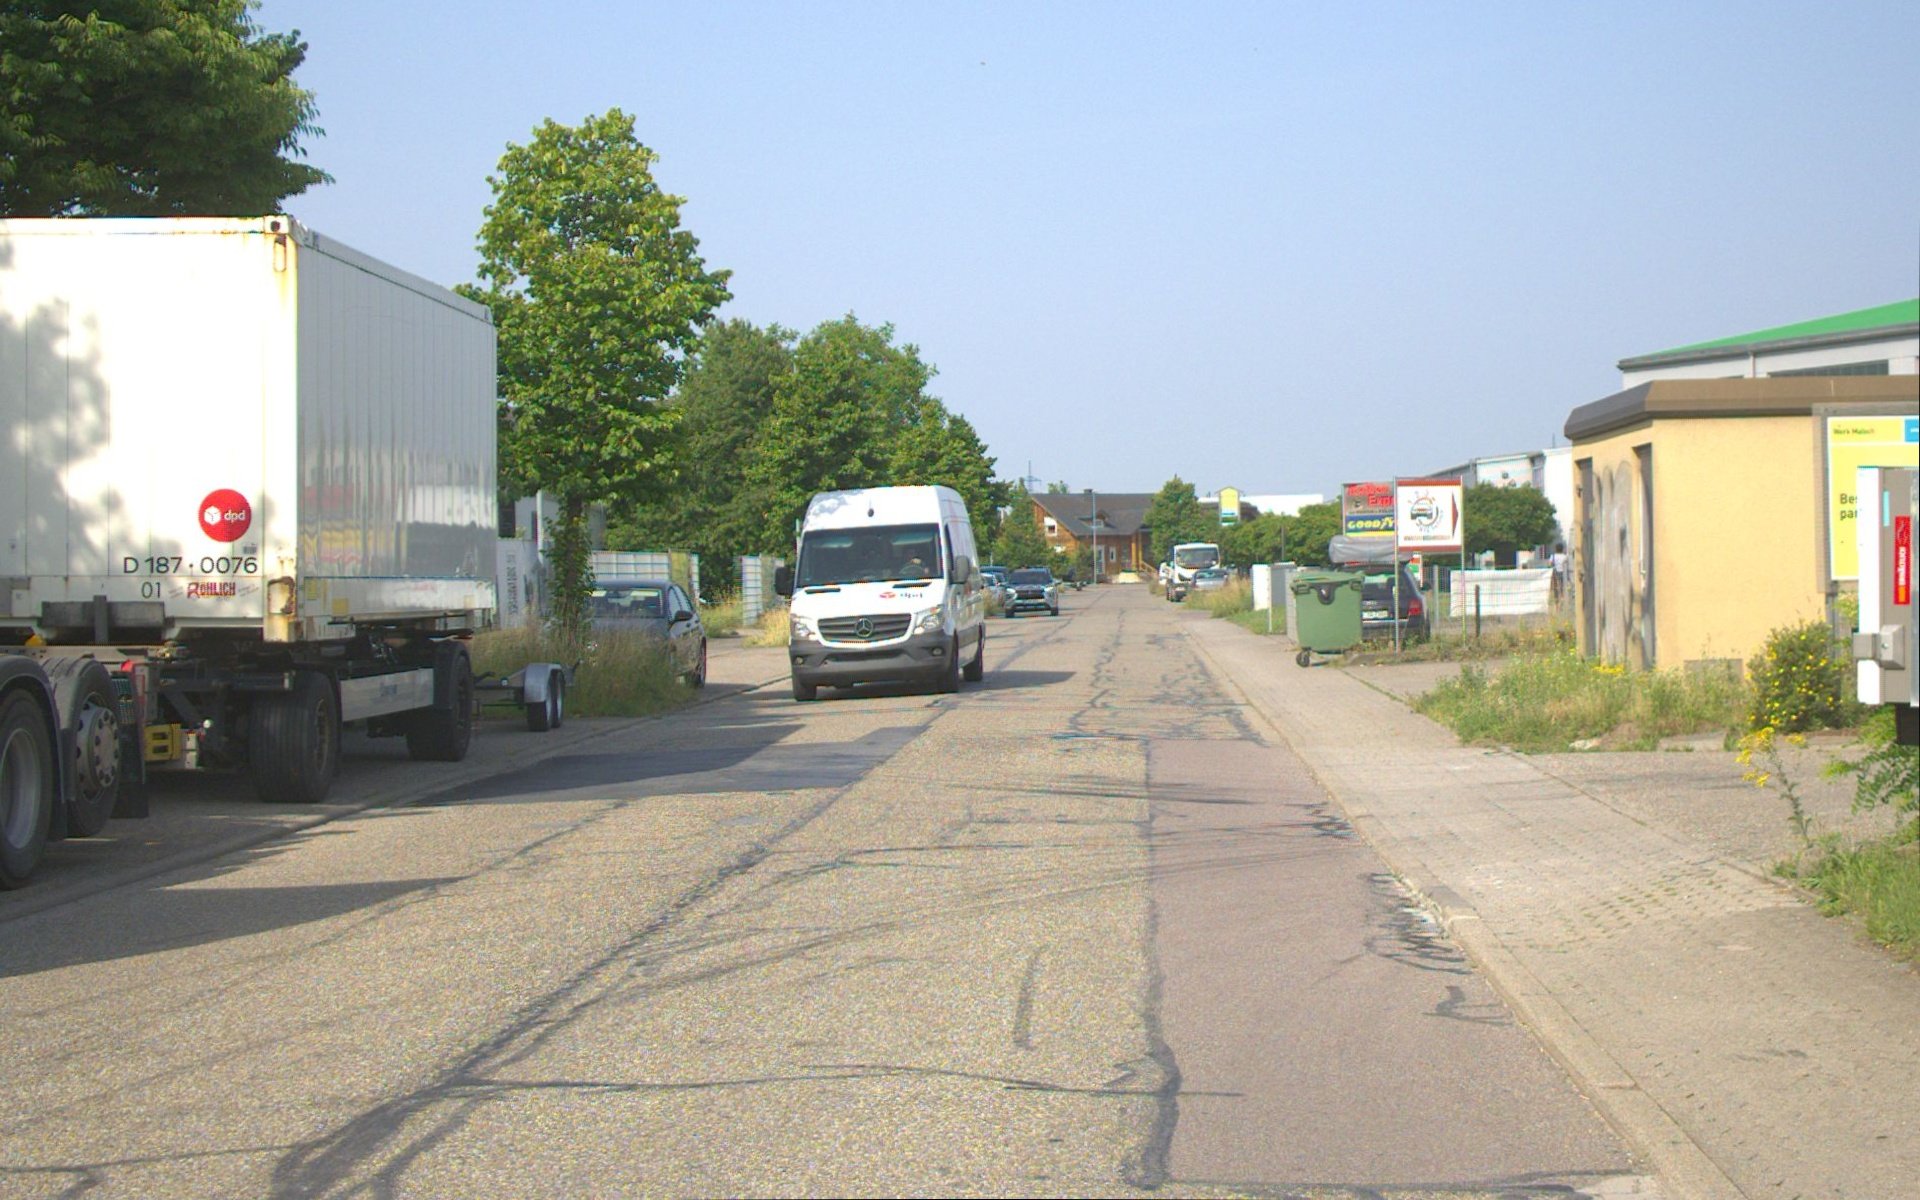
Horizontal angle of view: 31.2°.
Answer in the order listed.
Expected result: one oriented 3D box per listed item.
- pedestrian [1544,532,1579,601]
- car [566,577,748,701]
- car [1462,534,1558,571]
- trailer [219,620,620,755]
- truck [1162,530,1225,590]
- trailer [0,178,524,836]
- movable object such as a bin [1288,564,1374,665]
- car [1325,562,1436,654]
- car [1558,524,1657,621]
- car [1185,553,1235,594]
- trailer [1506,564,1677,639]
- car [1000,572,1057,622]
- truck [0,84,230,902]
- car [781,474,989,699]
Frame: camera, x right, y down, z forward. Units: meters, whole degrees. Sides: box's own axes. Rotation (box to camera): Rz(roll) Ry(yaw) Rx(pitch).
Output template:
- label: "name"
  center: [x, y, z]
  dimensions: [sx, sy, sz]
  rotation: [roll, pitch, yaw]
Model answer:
- label: "pedestrian"
  center: [14.367, -0.801, 82.142]
  dimensions: [0.702, 1.634, 0.749]
  rotation: [-1, 0, 5]
- label: "car"
  center: [-3.887, 0.473, 44.650]
  dimensions: [1.687, 1.465, 4.093]
  rotation: [-1, 1, 4]
- label: "car"
  center: [24.398, -2.111, 152.379]
  dimensions: [4.521, 1.583, 1.687]
  rotation: [-2, 1, -41]
- label: "trailer"
  center: [-5.042, 0.781, 33.200]
  dimensions: [2.649, 0.982, 6.243]
  rotation: [-2, 1, 2]
- label: "truck"
  center: [10.639, -1.835, 157.052]
  dimensions: [2.359, 2.672, 6.511]
  rotation: [-1, 1, -1]
- label: "trailer"
  center: [-5.393, -0.604, 25.191]
  dimensions: [2.700, 3.871, 9.764]
  rotation: [0, 1, 3]
- label: "movable object such as a bin"
  center: [5.316, 0.200, 49.378]
  dimensions: [1.081, 1.348, 1.505]
  rotation: [-4, 0, 4]
- label: "car"
  center: [6.764, 0.101, 55.090]
  dimensions: [1.674, 1.364, 4.392]
  rotation: [-1, 1, 8]
- label: "car"
  center: [18.933, -0.818, 100.680]
  dimensions: [1.974, 2.696, 5.880]
  rotation: [-1, 1, 3]
- label: "car"
  center: [9.701, -1.051, 133.560]
  dimensions: [1.794, 1.512, 4.424]
  rotation: [-1, 1, 3]
- label: "trailer"
  center: [10.737, 0.013, 58.597]
  dimensions: [1.490, 1.244, 2.978]
  rotation: [0, 1, -23]
- label: "car"
  center: [2.375, -0.112, 118.430]
  dimensions: [1.812, 1.621, 4.249]
  rotation: [-2, 1, 2]
- label: "truck"
  center: [-5.945, -0.498, 15.518]
  dimensions: [2.713, 3.871, 9.635]
  rotation: [0, 1, 3]
- label: "car"
  center: [-0.847, -0.208, 43.450]
  dimensions: [1.994, 2.538, 6.989]
  rotation: [-2, 1, 3]
